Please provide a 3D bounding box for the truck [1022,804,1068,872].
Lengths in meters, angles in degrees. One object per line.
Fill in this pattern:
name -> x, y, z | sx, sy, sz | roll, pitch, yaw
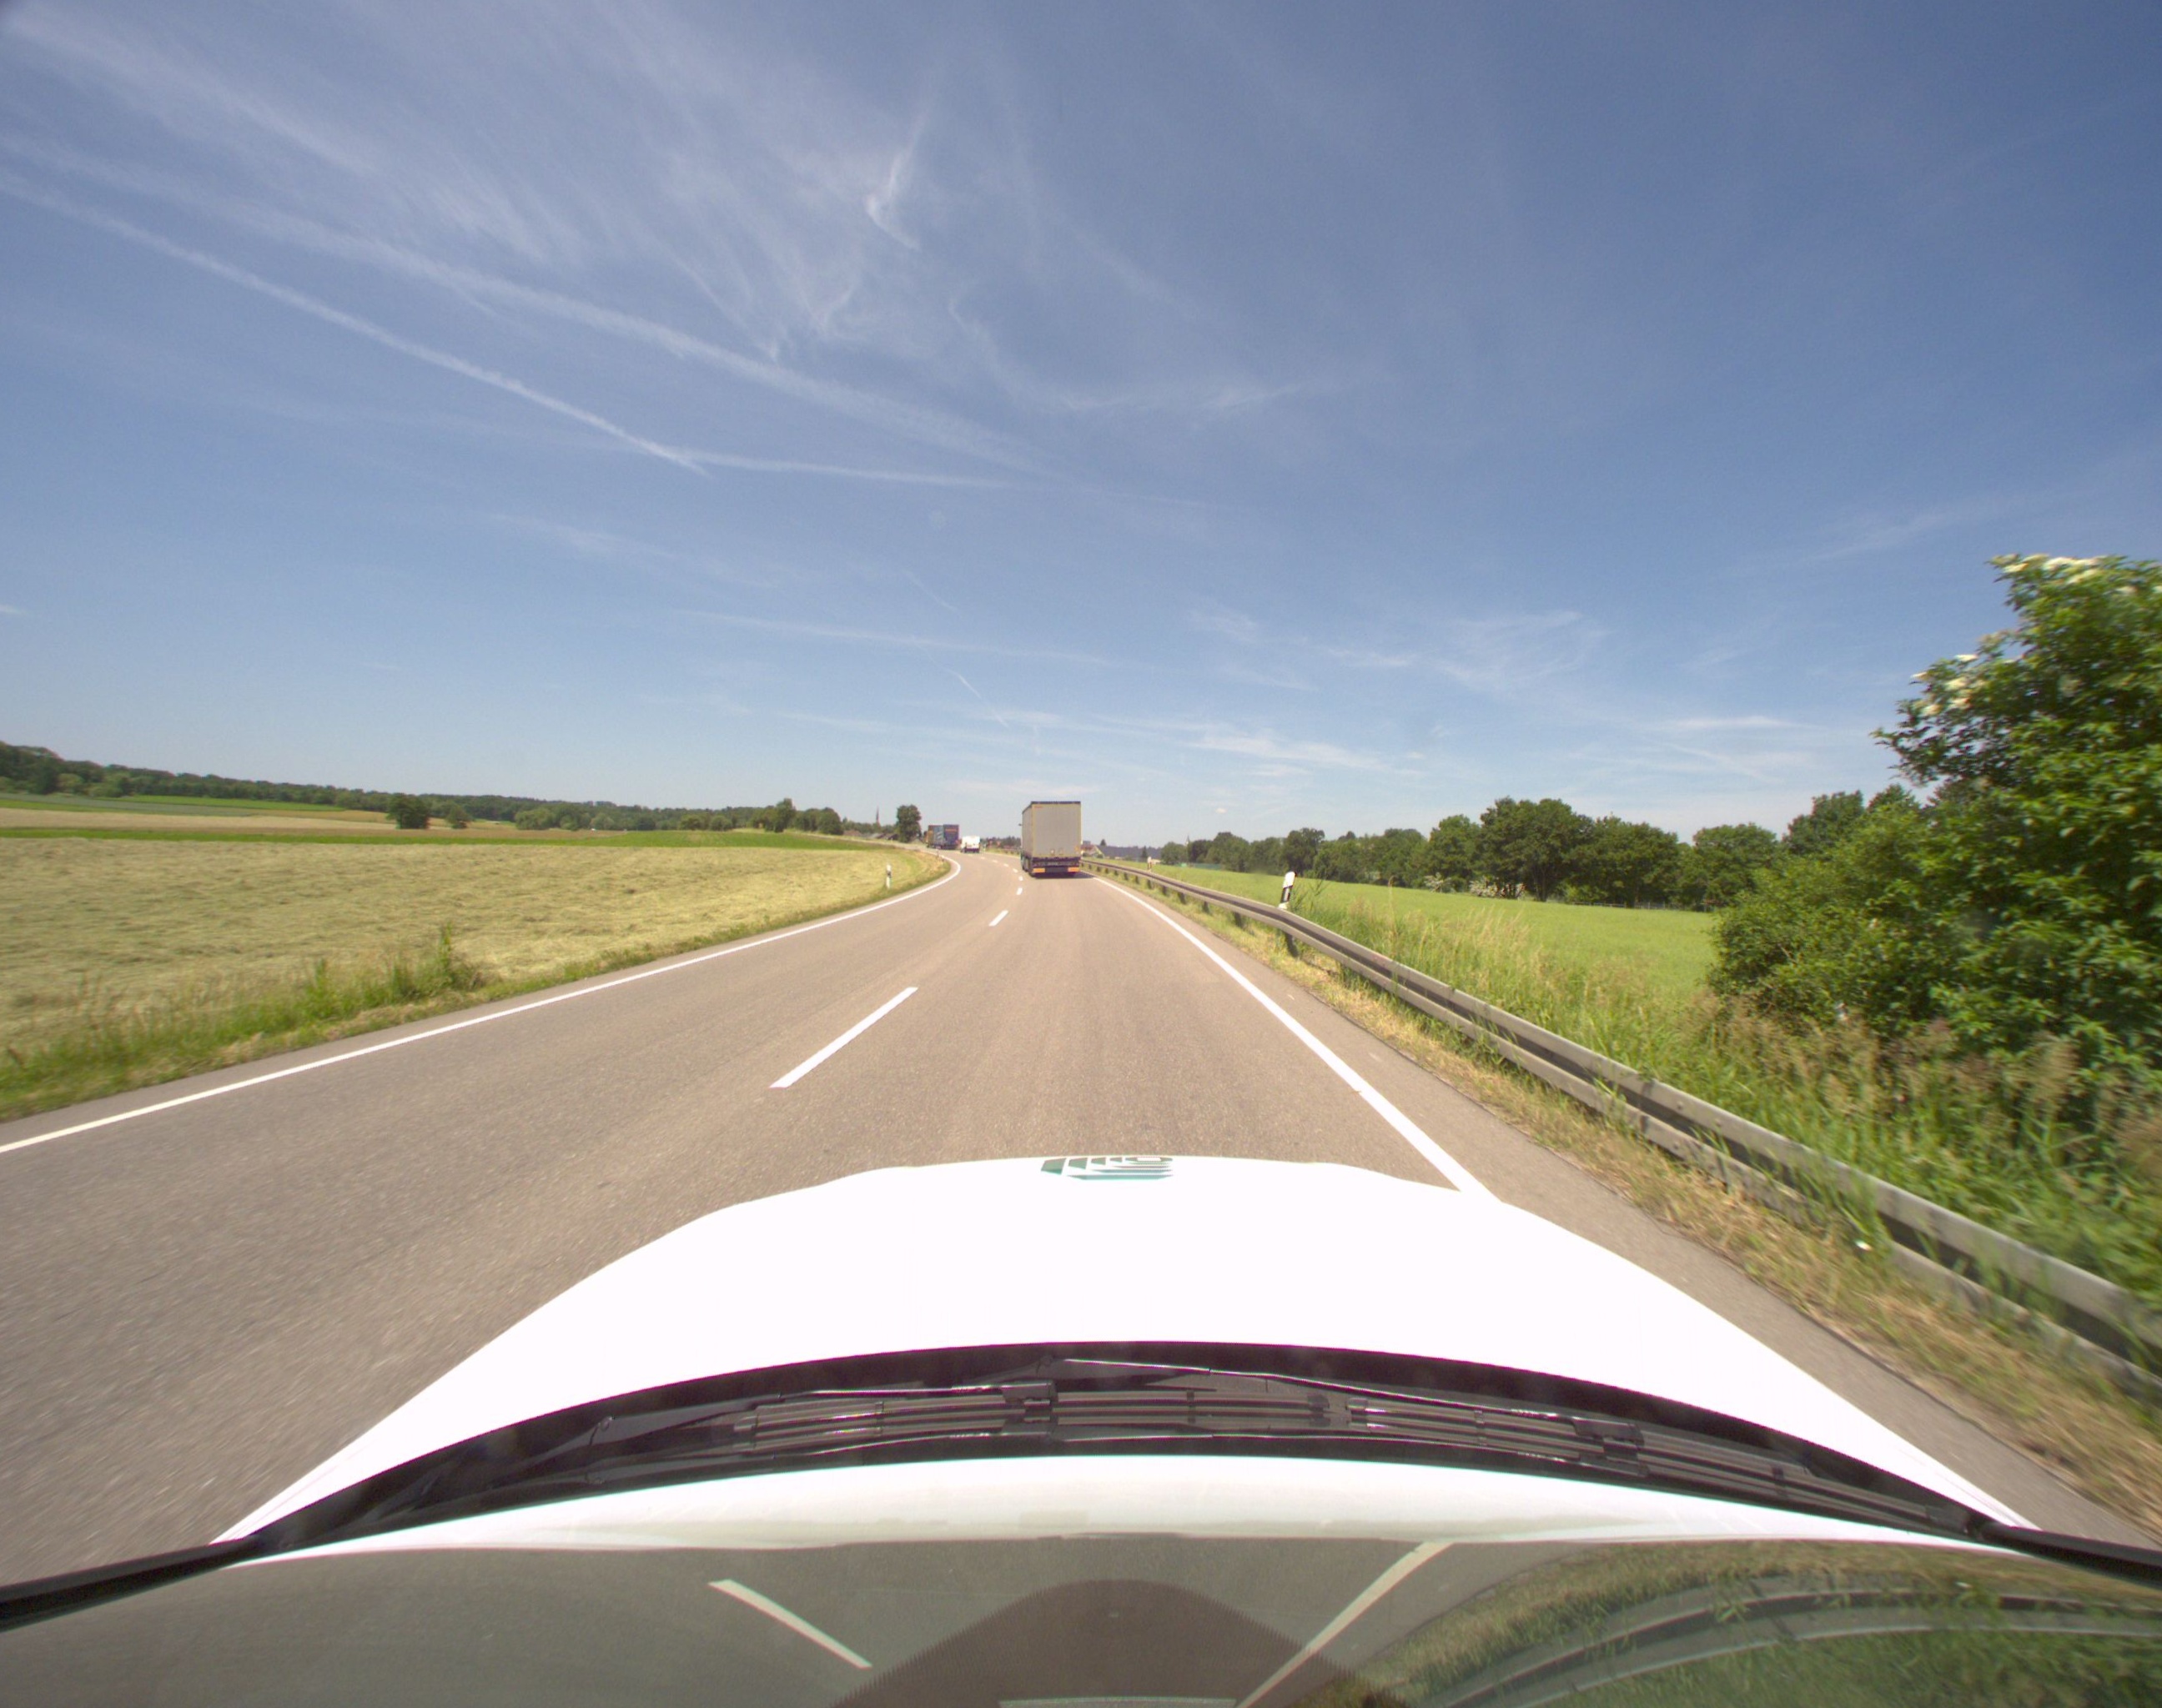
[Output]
truck -> -2.508, -1.074, 55.149 | 2.854, 4.400, 5.063 | -1, 0, -5

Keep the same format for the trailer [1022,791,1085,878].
trailer -> -1.889, -1.045, 48.066 | 2.863, 4.400, 13.467 | -1, 0, -5

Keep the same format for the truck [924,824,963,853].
truck -> -23.109, -2.587, 135.741 | 3.560, 4.392, 18.005 | 1, 0, -19

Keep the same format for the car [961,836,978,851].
car -> -15.427, -1.441, 112.510 | 1.730, 1.873, 3.975 | 1, -1, -18
